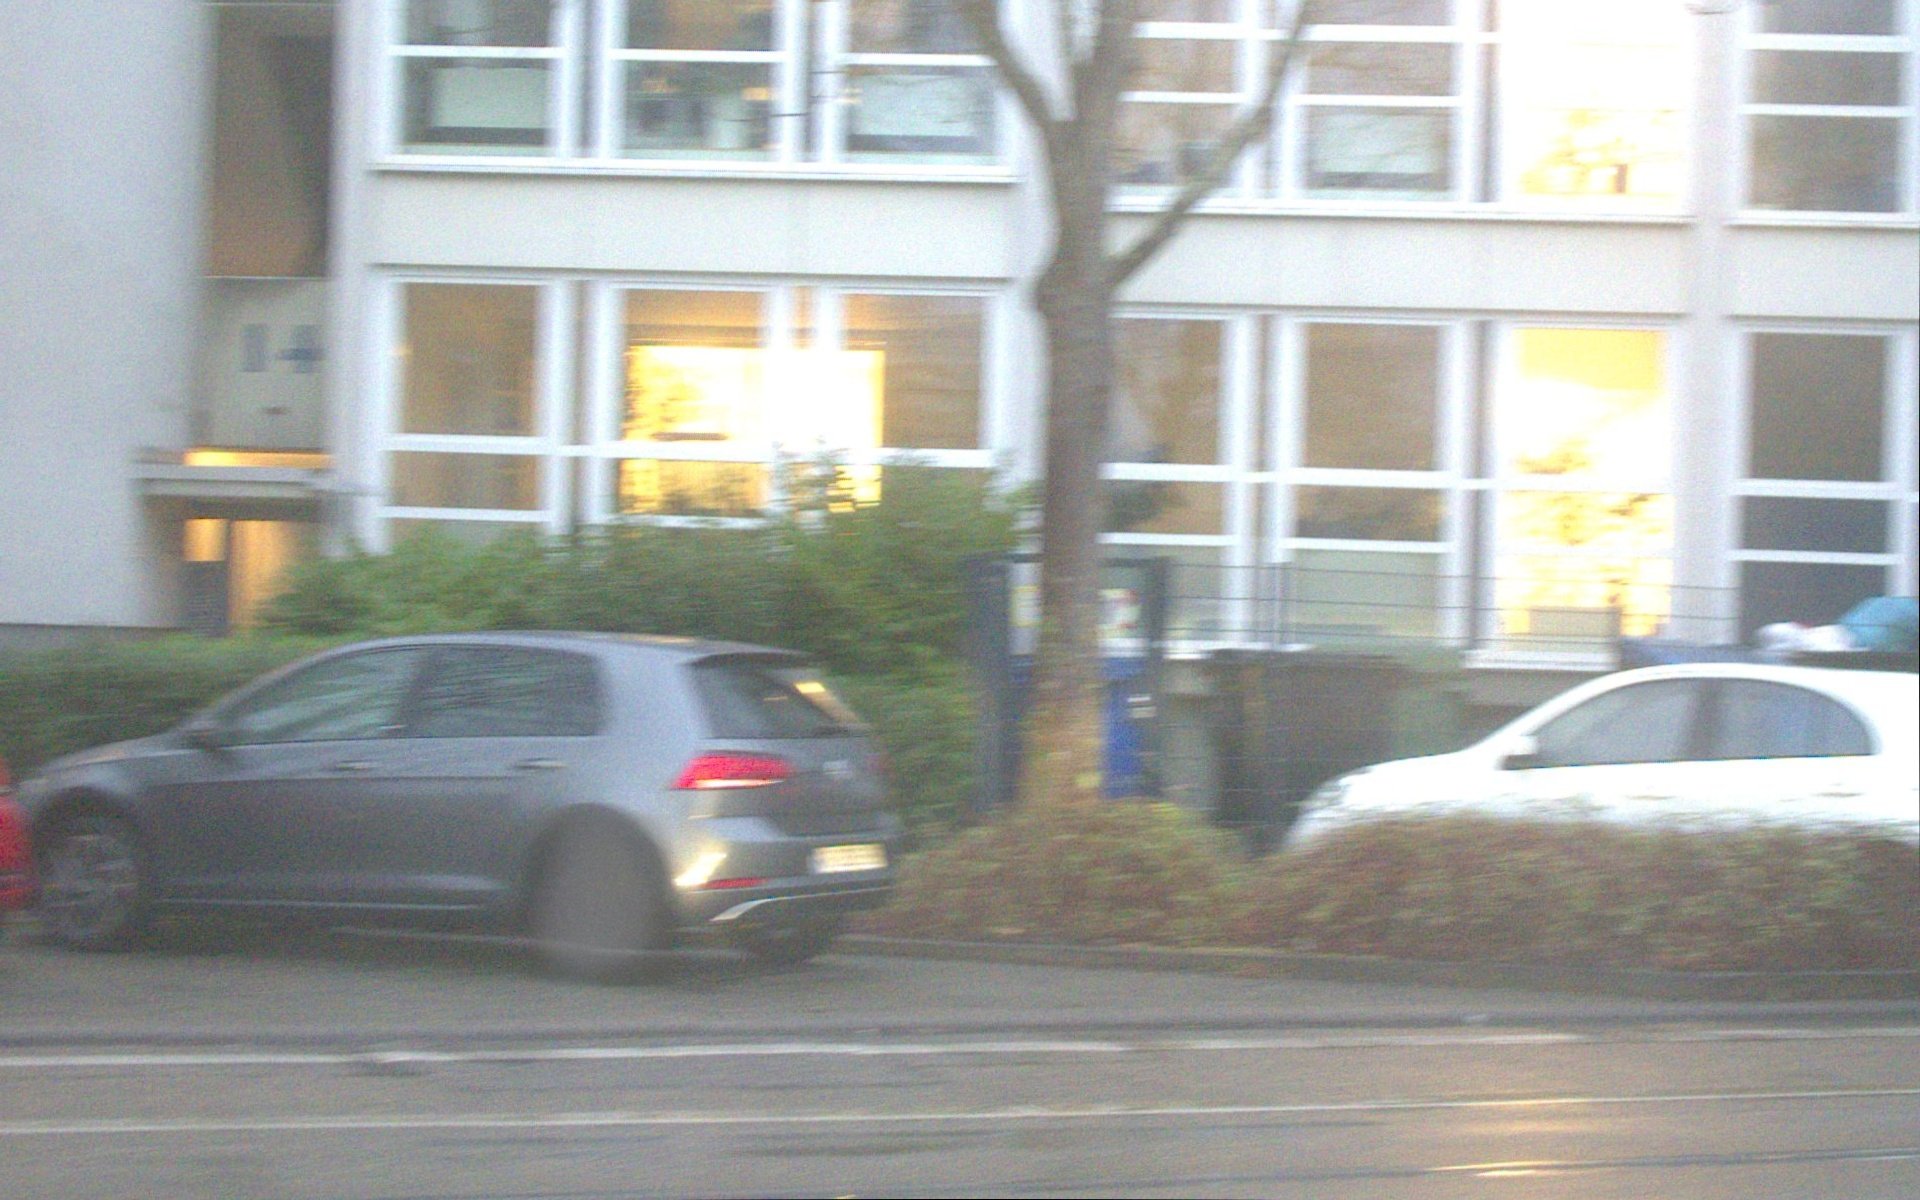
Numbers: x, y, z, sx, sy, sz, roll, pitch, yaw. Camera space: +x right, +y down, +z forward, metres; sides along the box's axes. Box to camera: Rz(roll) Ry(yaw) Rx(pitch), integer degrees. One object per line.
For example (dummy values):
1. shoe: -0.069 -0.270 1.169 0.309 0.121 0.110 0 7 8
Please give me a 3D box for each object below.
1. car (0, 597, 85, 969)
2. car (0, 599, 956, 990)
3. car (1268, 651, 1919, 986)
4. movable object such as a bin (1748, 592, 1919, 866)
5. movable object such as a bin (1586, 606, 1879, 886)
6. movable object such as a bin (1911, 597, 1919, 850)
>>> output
1. car: -5.549 0.702 14.165 3.445 1.488 1.727 1 -1 27
2. car: -2.132 0.783 15.098 3.846 1.488 1.694 1 -1 25
3. car: 3.722 1.083 17.846 3.869 1.546 1.691 1 -1 24
4. movable object such as a bin: 6.594 0.884 24.229 1.388 1.854 1.575 1 -1 -21
5. movable object such as a bin: 5.310 0.979 23.725 1.313 1.854 1.575 1 -1 -21
6. movable object such as a bin: 7.872 0.905 24.704 1.313 1.854 1.575 1 -1 -21
